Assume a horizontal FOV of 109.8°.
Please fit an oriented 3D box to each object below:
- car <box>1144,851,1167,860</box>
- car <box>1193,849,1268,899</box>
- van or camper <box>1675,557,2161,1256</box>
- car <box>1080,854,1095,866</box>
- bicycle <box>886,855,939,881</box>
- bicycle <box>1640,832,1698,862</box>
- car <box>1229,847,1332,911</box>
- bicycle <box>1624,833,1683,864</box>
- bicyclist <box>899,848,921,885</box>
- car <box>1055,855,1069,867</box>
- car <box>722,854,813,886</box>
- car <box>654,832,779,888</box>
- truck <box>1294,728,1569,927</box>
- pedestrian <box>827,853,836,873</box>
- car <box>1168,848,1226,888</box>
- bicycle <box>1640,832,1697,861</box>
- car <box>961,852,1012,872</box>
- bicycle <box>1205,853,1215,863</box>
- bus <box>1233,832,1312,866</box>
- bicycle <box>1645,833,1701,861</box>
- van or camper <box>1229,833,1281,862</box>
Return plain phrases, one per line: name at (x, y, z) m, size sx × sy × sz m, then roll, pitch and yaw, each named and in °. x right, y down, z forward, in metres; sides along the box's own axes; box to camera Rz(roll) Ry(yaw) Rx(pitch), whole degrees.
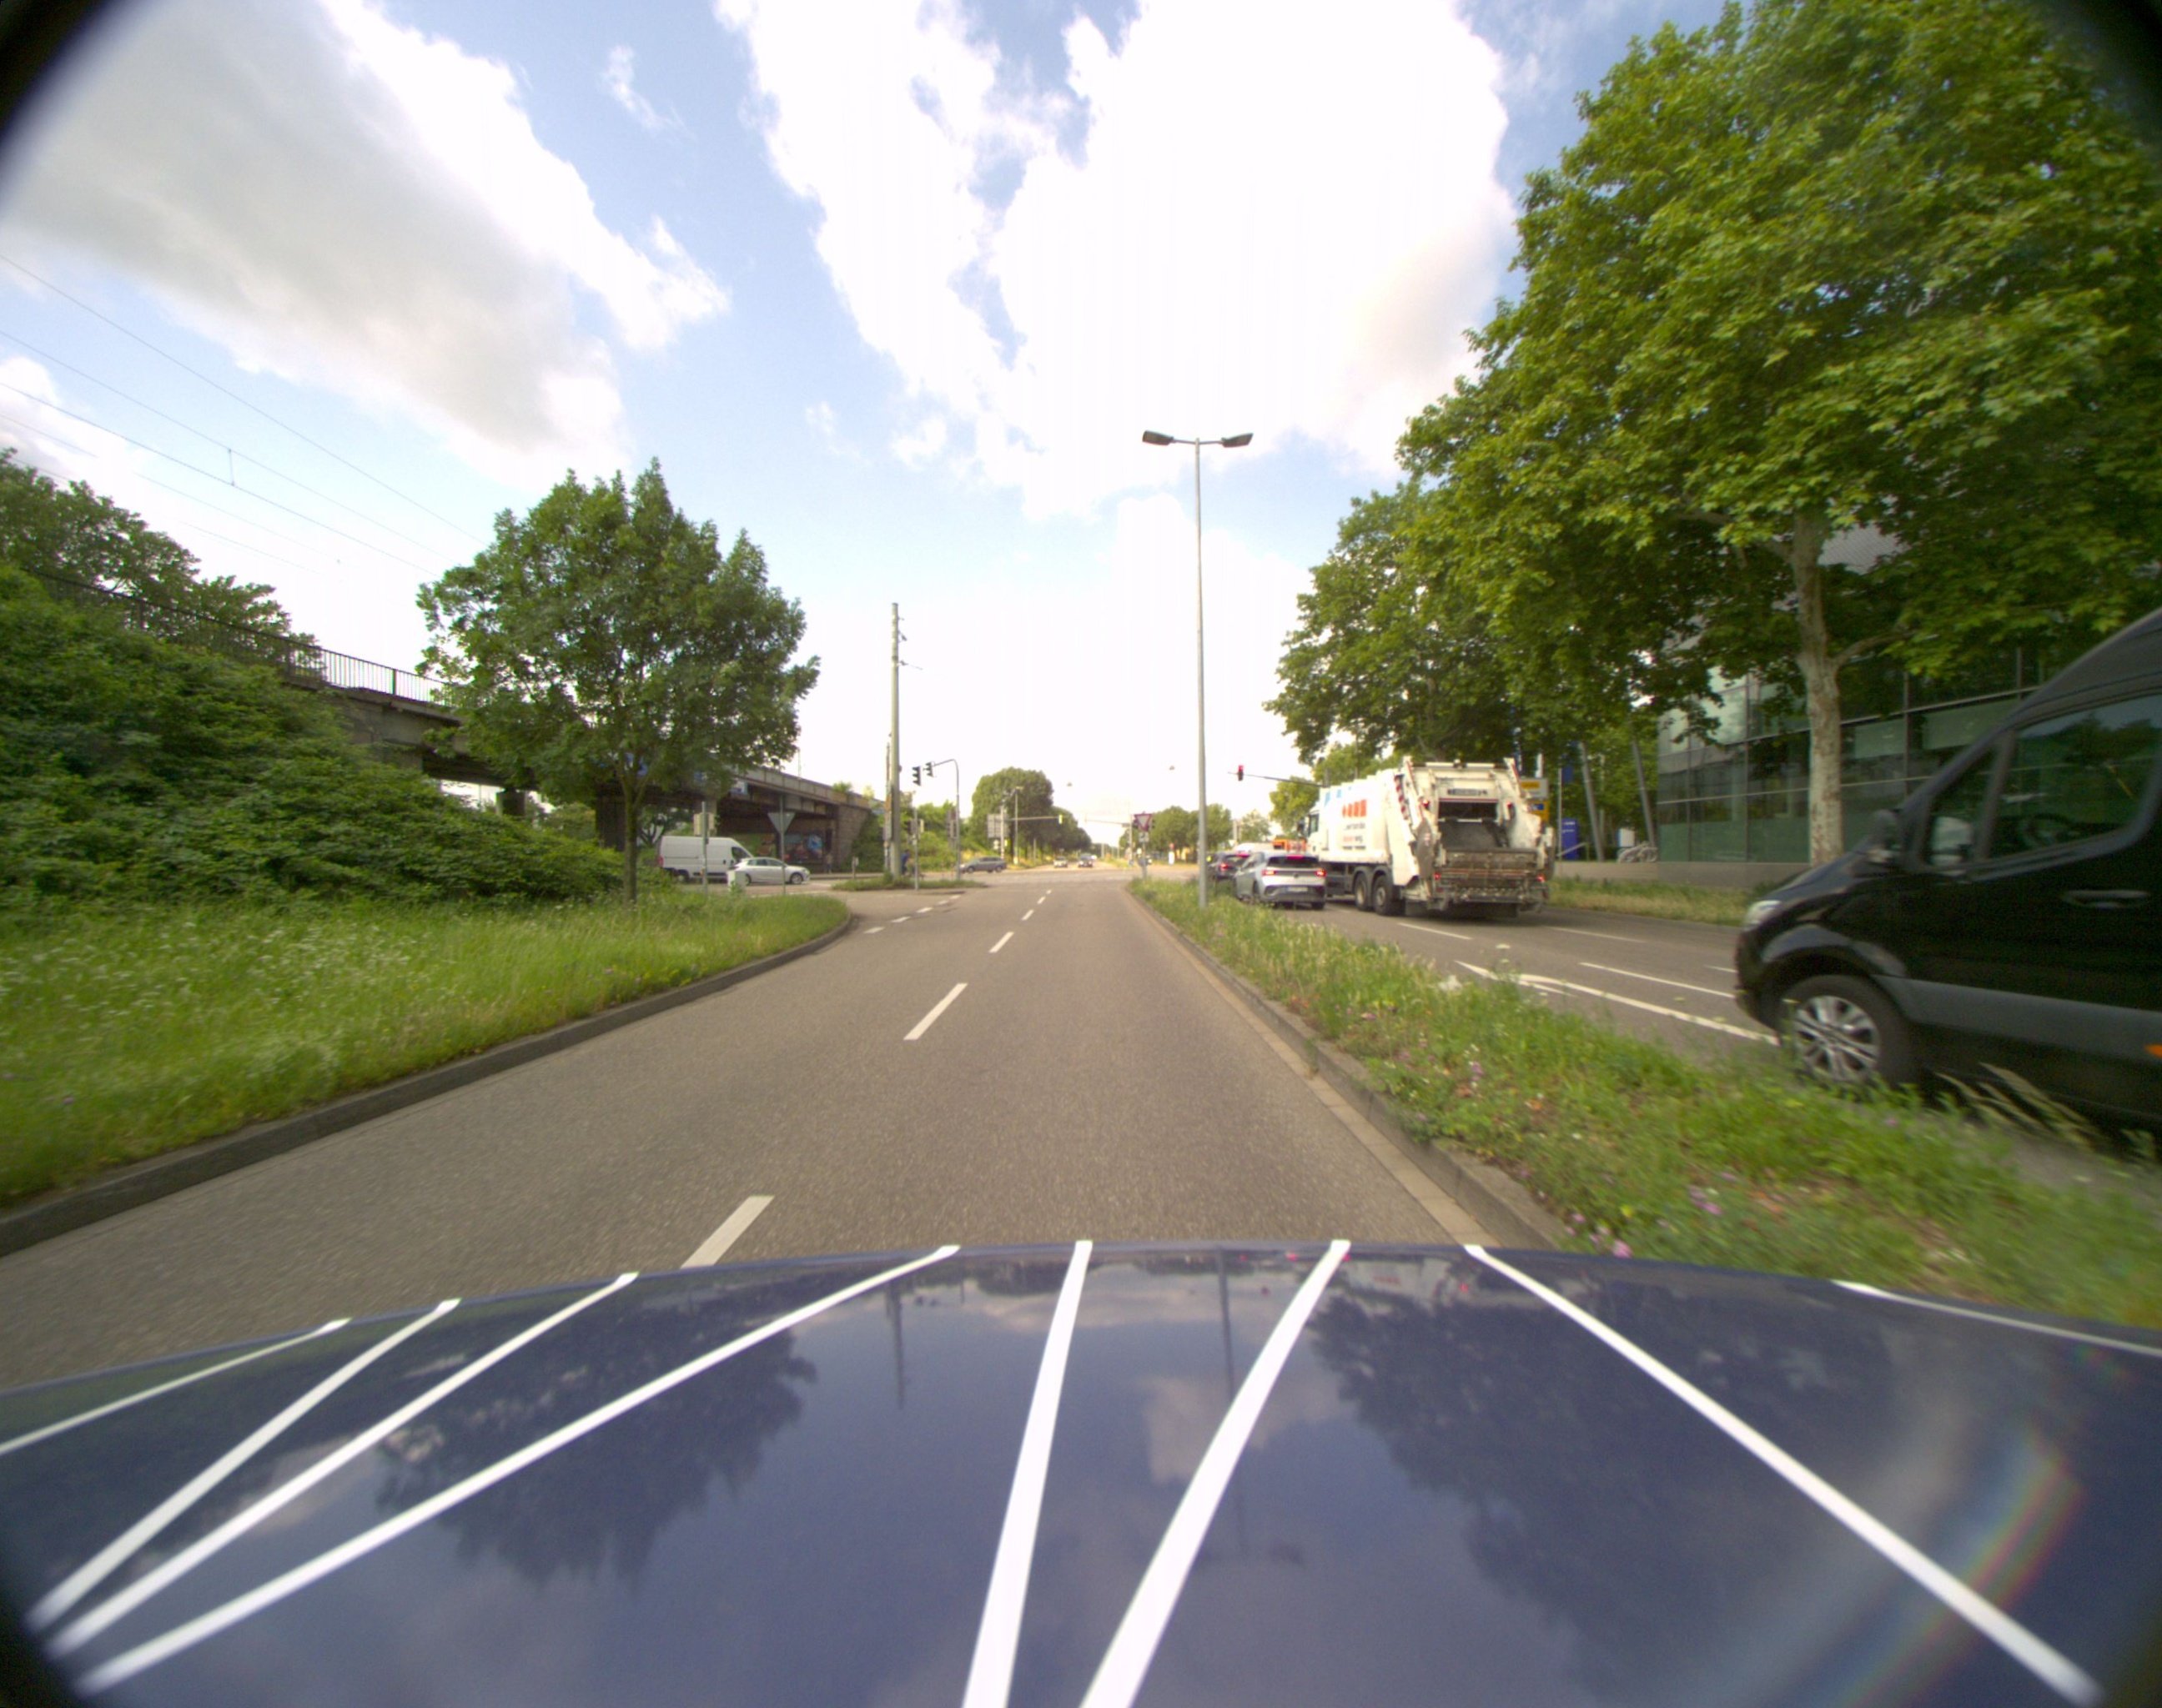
car at (13.150, 0.295, 134.404) m, size 3.806 × 1.470 × 1.745 m, roll 2°, pitch -1°, yaw -36°
car at (5.154, 0.622, 26.663) m, size 1.712 × 1.578 × 4.361 m, roll -1°, pitch 1°, yaw -1°
van or camper at (5.178, 0.208, 1.793) m, size 2.110 × 2.644 × 6.716 m, roll 1°, pitch 0°, yaw -2°
car at (0.766, 0.783, 95.100) m, size 1.820 × 1.477 × 4.000 m, roll -1°, pitch 0°, yaw 1°
bicycle at (-8.117, 0.672, 36.665) m, size 2.321 × 1.088 × 0.843 m, roll -2°, pitch 5°, yaw -28°
bicycle at (29.412, -0.355, 38.017) m, size 0.693 × 1.433 × 2.172 m, roll -5°, pitch 5°, yaw -43°
car at (5.373, 0.602, 21.011) m, size 1.749 × 1.544 × 4.233 m, roll 2°, pitch 0°, yaw 1°
bicycle at (27.866, -0.268, 37.031) m, size 0.693 × 1.433 × 2.172 m, roll -5°, pitch 5°, yaw -43°
bicyclist at (-8.234, 0.580, 36.591) m, size 0.825 × 1.670 × 0.843 m, roll -3°, pitch 5°, yaw -27°
car at (-2.405, 0.863, 96.505) m, size 1.716 × 1.477 × 4.000 m, roll -1°, pitch 0°, yaw 1°
car at (-16.012, 0.778, 38.879) m, size 4.007 × 1.468 × 1.703 m, roll -2°, pitch 3°, yaw -36°
car at (-19.406, 0.232, 40.590) m, size 5.635 × 2.514 × 2.258 m, roll -3°, pitch 6°, yaw -34°
truck at (8.327, -0.559, 20.052) m, size 2.656 × 3.865 × 10.159 m, roll 1°, pitch 1°, yaw 1°
pedestrian at (-21.190, 0.729, 64.536) m, size 0.610 × 1.642 × 0.691 m, roll -2°, pitch 4°, yaw -18°
car at (5.103, 0.560, 33.860) m, size 1.869 × 1.565 × 4.567 m, roll -1°, pitch 1°, yaw 0°
bicycle at (29.923, -0.391, 38.738) m, size 0.743 × 1.377 × 2.133 m, roll -4°, pitch 5°, yaw -38°
car at (-8.274, 0.714, 66.595) m, size 4.006 × 1.456 × 1.768 m, roll -4°, pitch 2°, yaw -35°
bicycle at (17.731, 0.547, 104.484) m, size 0.677 × 1.190 × 2.231 m, roll -5°, pitch 2°, yaw -6°
bus at (22.478, -0.696, 88.751) m, size 10.411 × 3.448 × 2.738 m, roll -4°, pitch 5°, yaw -35°
bicycle at (30.531, -0.391, 39.245) m, size 0.743 × 1.377 × 2.133 m, roll -4°, pitch 5°, yaw -37°
van or camper at (18.878, -0.761, 82.315) m, size 5.975 × 2.771 × 2.158 m, roll -3°, pitch 5°, yaw -36°
